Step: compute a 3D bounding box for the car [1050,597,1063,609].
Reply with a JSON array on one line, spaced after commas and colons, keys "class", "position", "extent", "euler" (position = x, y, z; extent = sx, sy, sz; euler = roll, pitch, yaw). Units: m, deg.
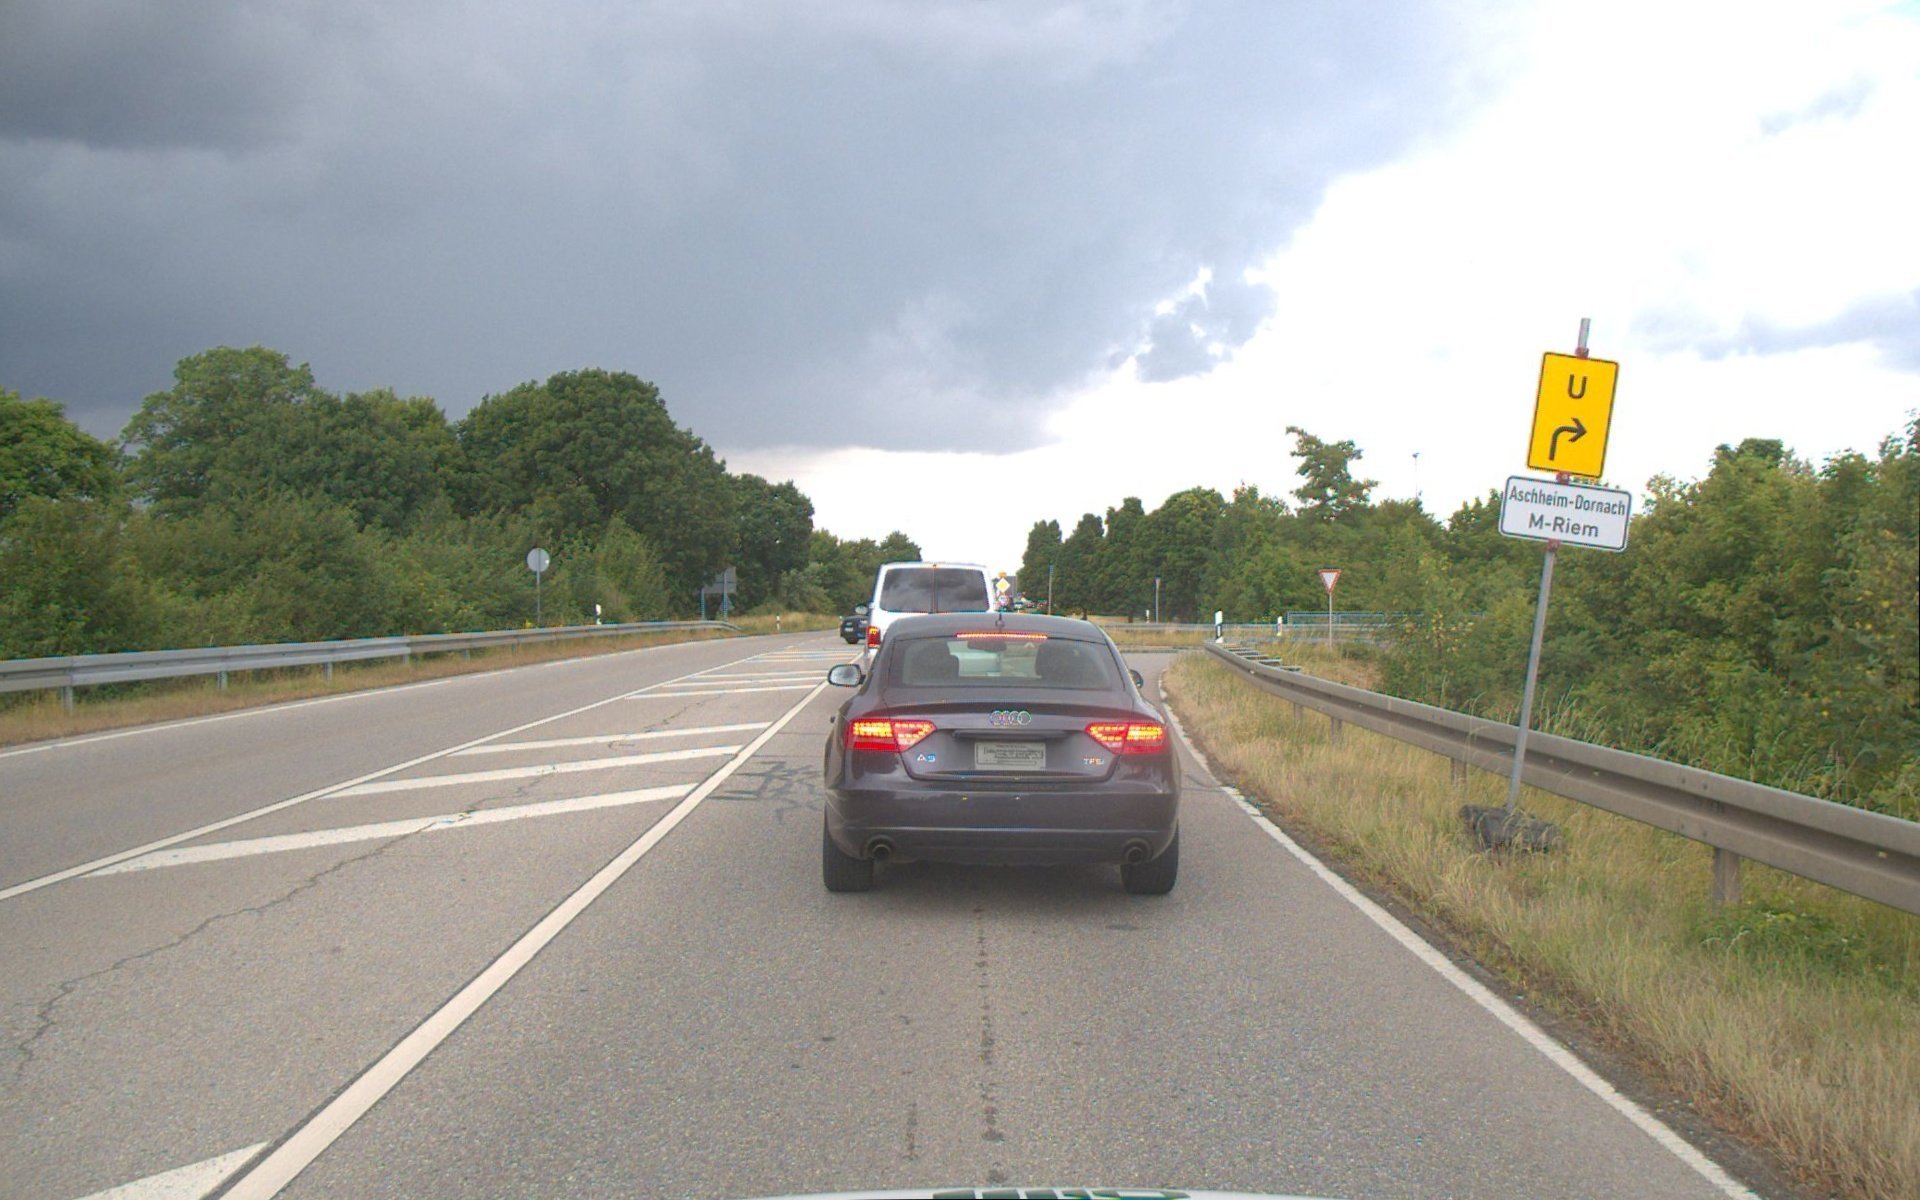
[{"class": "car", "position": [14.133, 0.375, 242.995], "extent": [1.836, 1.721, 4.002], "euler": [1, 0, 4]}]

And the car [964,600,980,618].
[{"class": "car", "position": [1.436, 1.100, 198.798], "extent": [1.952, 2.049, 4.000], "euler": [1, 0, 1]}]

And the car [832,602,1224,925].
[{"class": "car", "position": [0.249, 0.735, 9.046], "extent": [1.744, 1.423, 3.335], "euler": [0, 0, -2]}]

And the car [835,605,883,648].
[{"class": "car", "position": [-3.880, 0.991, 63.785], "extent": [1.675, 1.545, 4.208], "euler": [1, 0, -1]}]

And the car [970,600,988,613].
[{"class": "car", "position": [2.465, 0.886, 215.386], "extent": [2.161, 1.610, 4.377], "euler": [1, 0, -2]}]

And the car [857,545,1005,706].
[{"class": "car", "position": [-0.431, 0.318, 23.279], "extent": [1.872, 2.049, 3.999], "euler": [1, 0, -2]}]

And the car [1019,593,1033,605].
[{"class": "car", "position": [9.933, -0.202, 249.741], "extent": [1.952, 1.721, 4.001], "euler": [1, 0, 1]}]

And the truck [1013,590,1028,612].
[{"class": "truck", "position": [8.415, 0.090, 231.575], "extent": [1.952, 2.969, 5.794], "euler": [1, 0, 1]}]
